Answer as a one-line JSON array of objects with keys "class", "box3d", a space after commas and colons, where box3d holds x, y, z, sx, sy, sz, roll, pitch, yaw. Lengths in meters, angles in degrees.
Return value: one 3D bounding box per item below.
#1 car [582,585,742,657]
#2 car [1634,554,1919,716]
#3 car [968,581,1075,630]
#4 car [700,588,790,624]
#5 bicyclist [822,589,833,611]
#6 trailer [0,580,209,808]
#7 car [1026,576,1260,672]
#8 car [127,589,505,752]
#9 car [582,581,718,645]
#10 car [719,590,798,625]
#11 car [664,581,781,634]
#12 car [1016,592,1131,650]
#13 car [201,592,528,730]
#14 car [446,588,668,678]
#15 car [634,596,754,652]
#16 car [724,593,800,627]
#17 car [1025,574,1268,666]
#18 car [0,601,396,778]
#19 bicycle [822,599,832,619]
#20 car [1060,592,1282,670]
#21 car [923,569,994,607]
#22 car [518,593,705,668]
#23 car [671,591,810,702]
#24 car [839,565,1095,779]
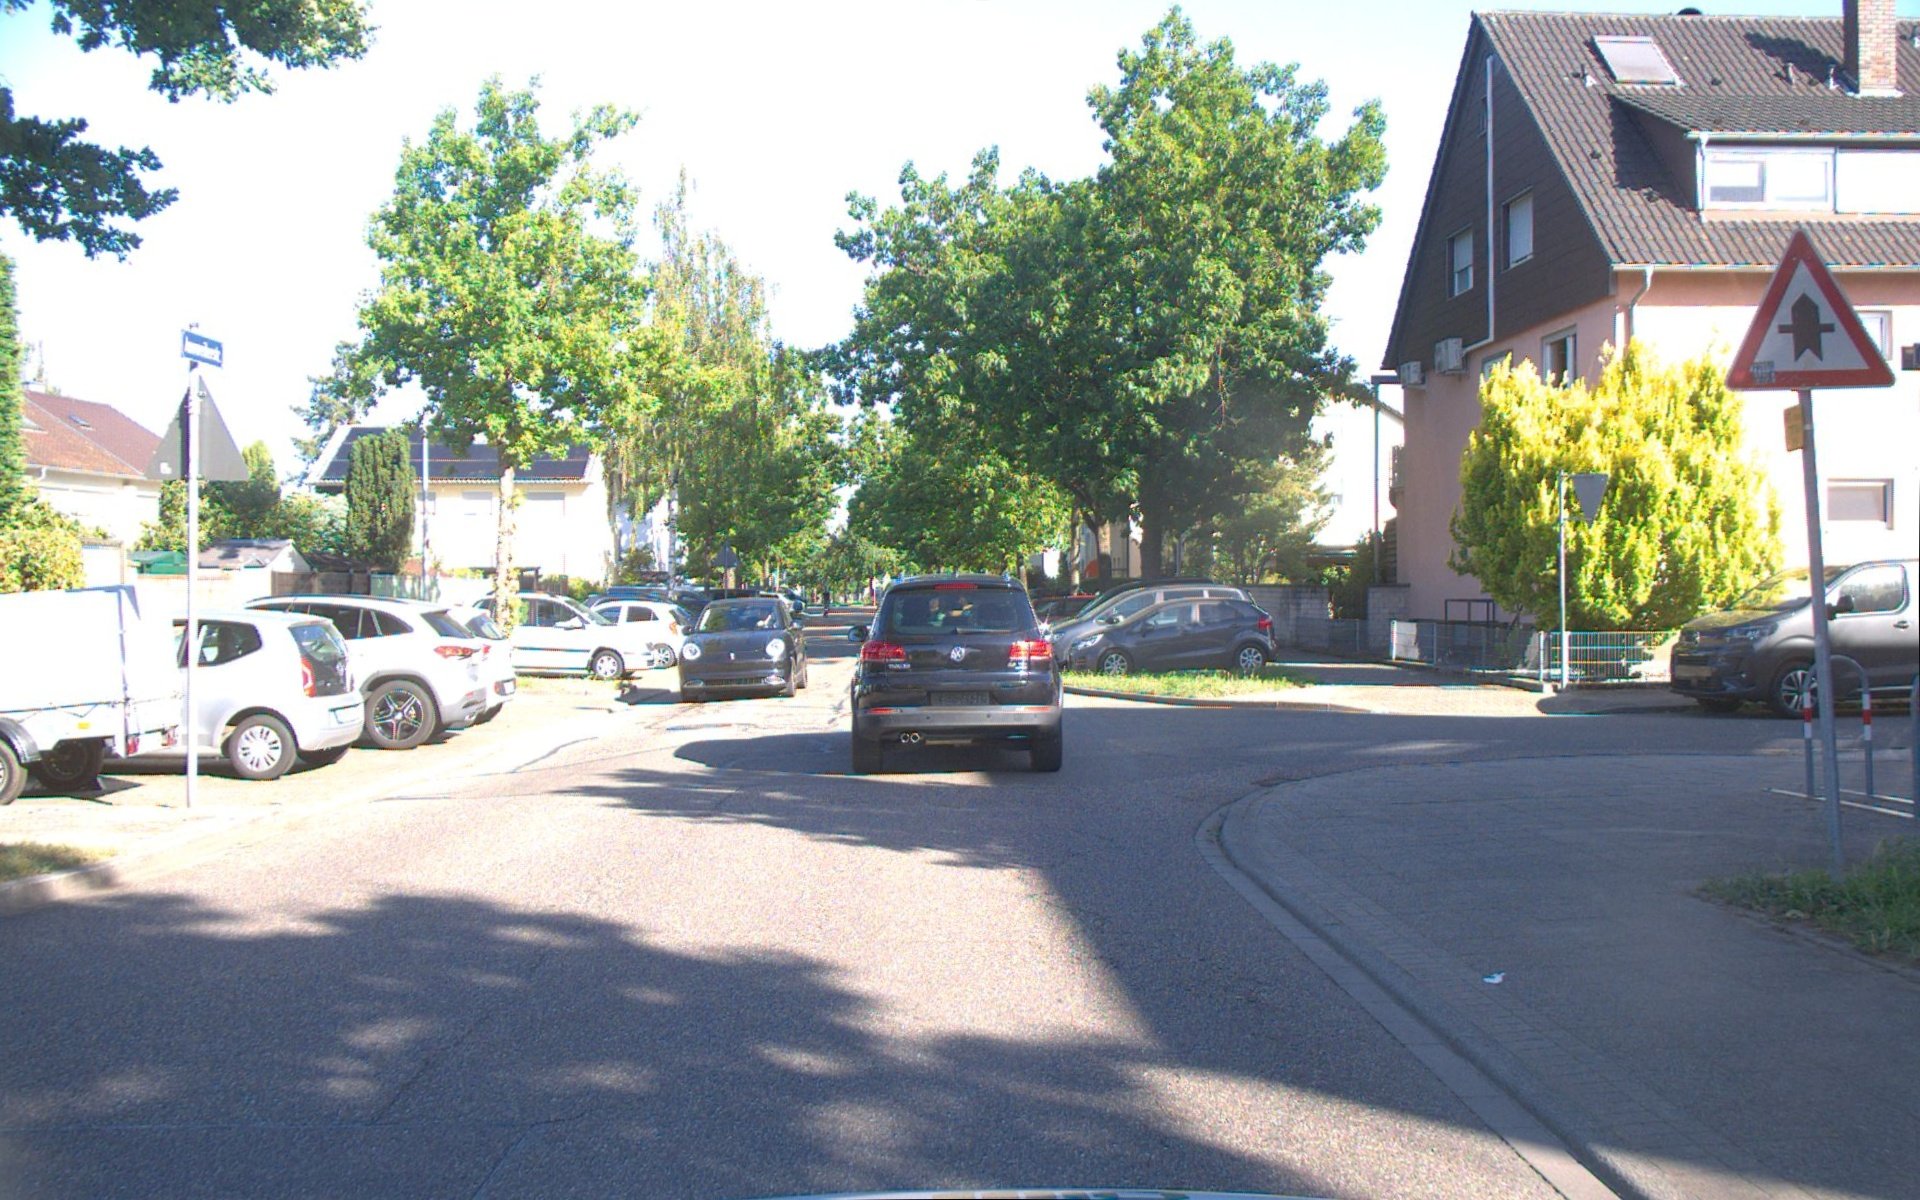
[{"class": "car", "box3d": [-7.676, 0.518, 42.927, 3.910, 1.762, 1.997, -1, 0, -6]}, {"class": "car", "box3d": [11.385, 0.413, 20.606, 5.138, 1.880, 2.069, -1, -1, -5]}, {"class": "car", "box3d": [2.291, 0.191, 62.257, 3.906, 1.806, 1.789, 0, 0, -2]}, {"class": "car", "box3d": [-9.829, 0.278, 75.750, 3.906, 1.525, 1.999, -1, -2, -2]}, {"class": "bicyclist", "box3d": [-8.231, -0.014, 102.750, 0.687, 1.370, 0.506, 0, -2, -7]}, {"class": "trailer", "box3d": [-7.666, 0.711, 12.969, 2.910, 1.685, 1.394, -1, 0, -6]}, {"class": "car", "box3d": [3.685, 0.467, 33.844, 4.540, 1.841, 1.823, -1, 0, -3]}, {"class": "car", "box3d": [-6.894, 0.715, 18.044, 3.483, 1.641, 1.849, 0, 0, -8]}, {"class": "car", "box3d": [-9.383, 0.377, 50.315, 3.910, 1.868, 1.635, -1, 0, -7]}, {"class": "car", "box3d": [-10.410, 0.368, 85.381, 3.915, 1.713, 1.918, -1, 0, -10]}, {"class": "car", "box3d": [-8.923, 0.295, 62.450, 4.306, 1.973, 1.576, 0, -1, -7]}, {"class": "car", "box3d": [3.119, 0.577, 45.678, 2.987, 1.534, 1.244, -1, 0, -9]}, {"class": "car", "box3d": [-7.297, 0.716, 20.576, 3.481, 1.585, 1.850, -1, 0, -7]}, {"class": "car", "box3d": [-7.920, 0.628, 32.811, 3.906, 1.699, 2.000, 0, 0, -1]}, {"class": "car", "box3d": [-7.604, 0.673, 47.525, 3.306, 1.516, 1.641, -1, 0, -6]}, {"class": "car", "box3d": [-10.524, 0.511, 87.778, 3.915, 1.713, 1.995, -1, 0, -10]}, {"class": "car", "box3d": [4.099, 0.434, 36.903, 5.154, 1.979, 1.999, 0, 0, -3]}, {"class": "car", "box3d": [-7.278, 0.784, 15.348, 3.478, 1.503, 1.807, -1, 0, -3]}, {"class": "bicycle", "box3d": [-8.263, 0.587, 102.773, 0.625, 1.183, 1.738, 0, -2, -6]}, {"class": "car", "box3d": [3.948, 0.559, 31.356, 3.907, 1.392, 1.846, -1, 0, -3]}, {"class": "car", "box3d": [-0.111, -0.664, 93.608, 3.906, 2.049, 1.999, -1, -2, -2]}, {"class": "car", "box3d": [-7.976, 0.679, 38.151, 3.906, 1.668, 2.000, 0, 0, -1]}, {"class": "car", "box3d": [-3.450, 0.686, 26.662, 1.872, 1.582, 3.997, -2, 0, -3]}, {"class": "car", "box3d": [-0.098, 0.565, 15.505, 1.892, 1.683, 4.508, 1, 0, -6]}]
